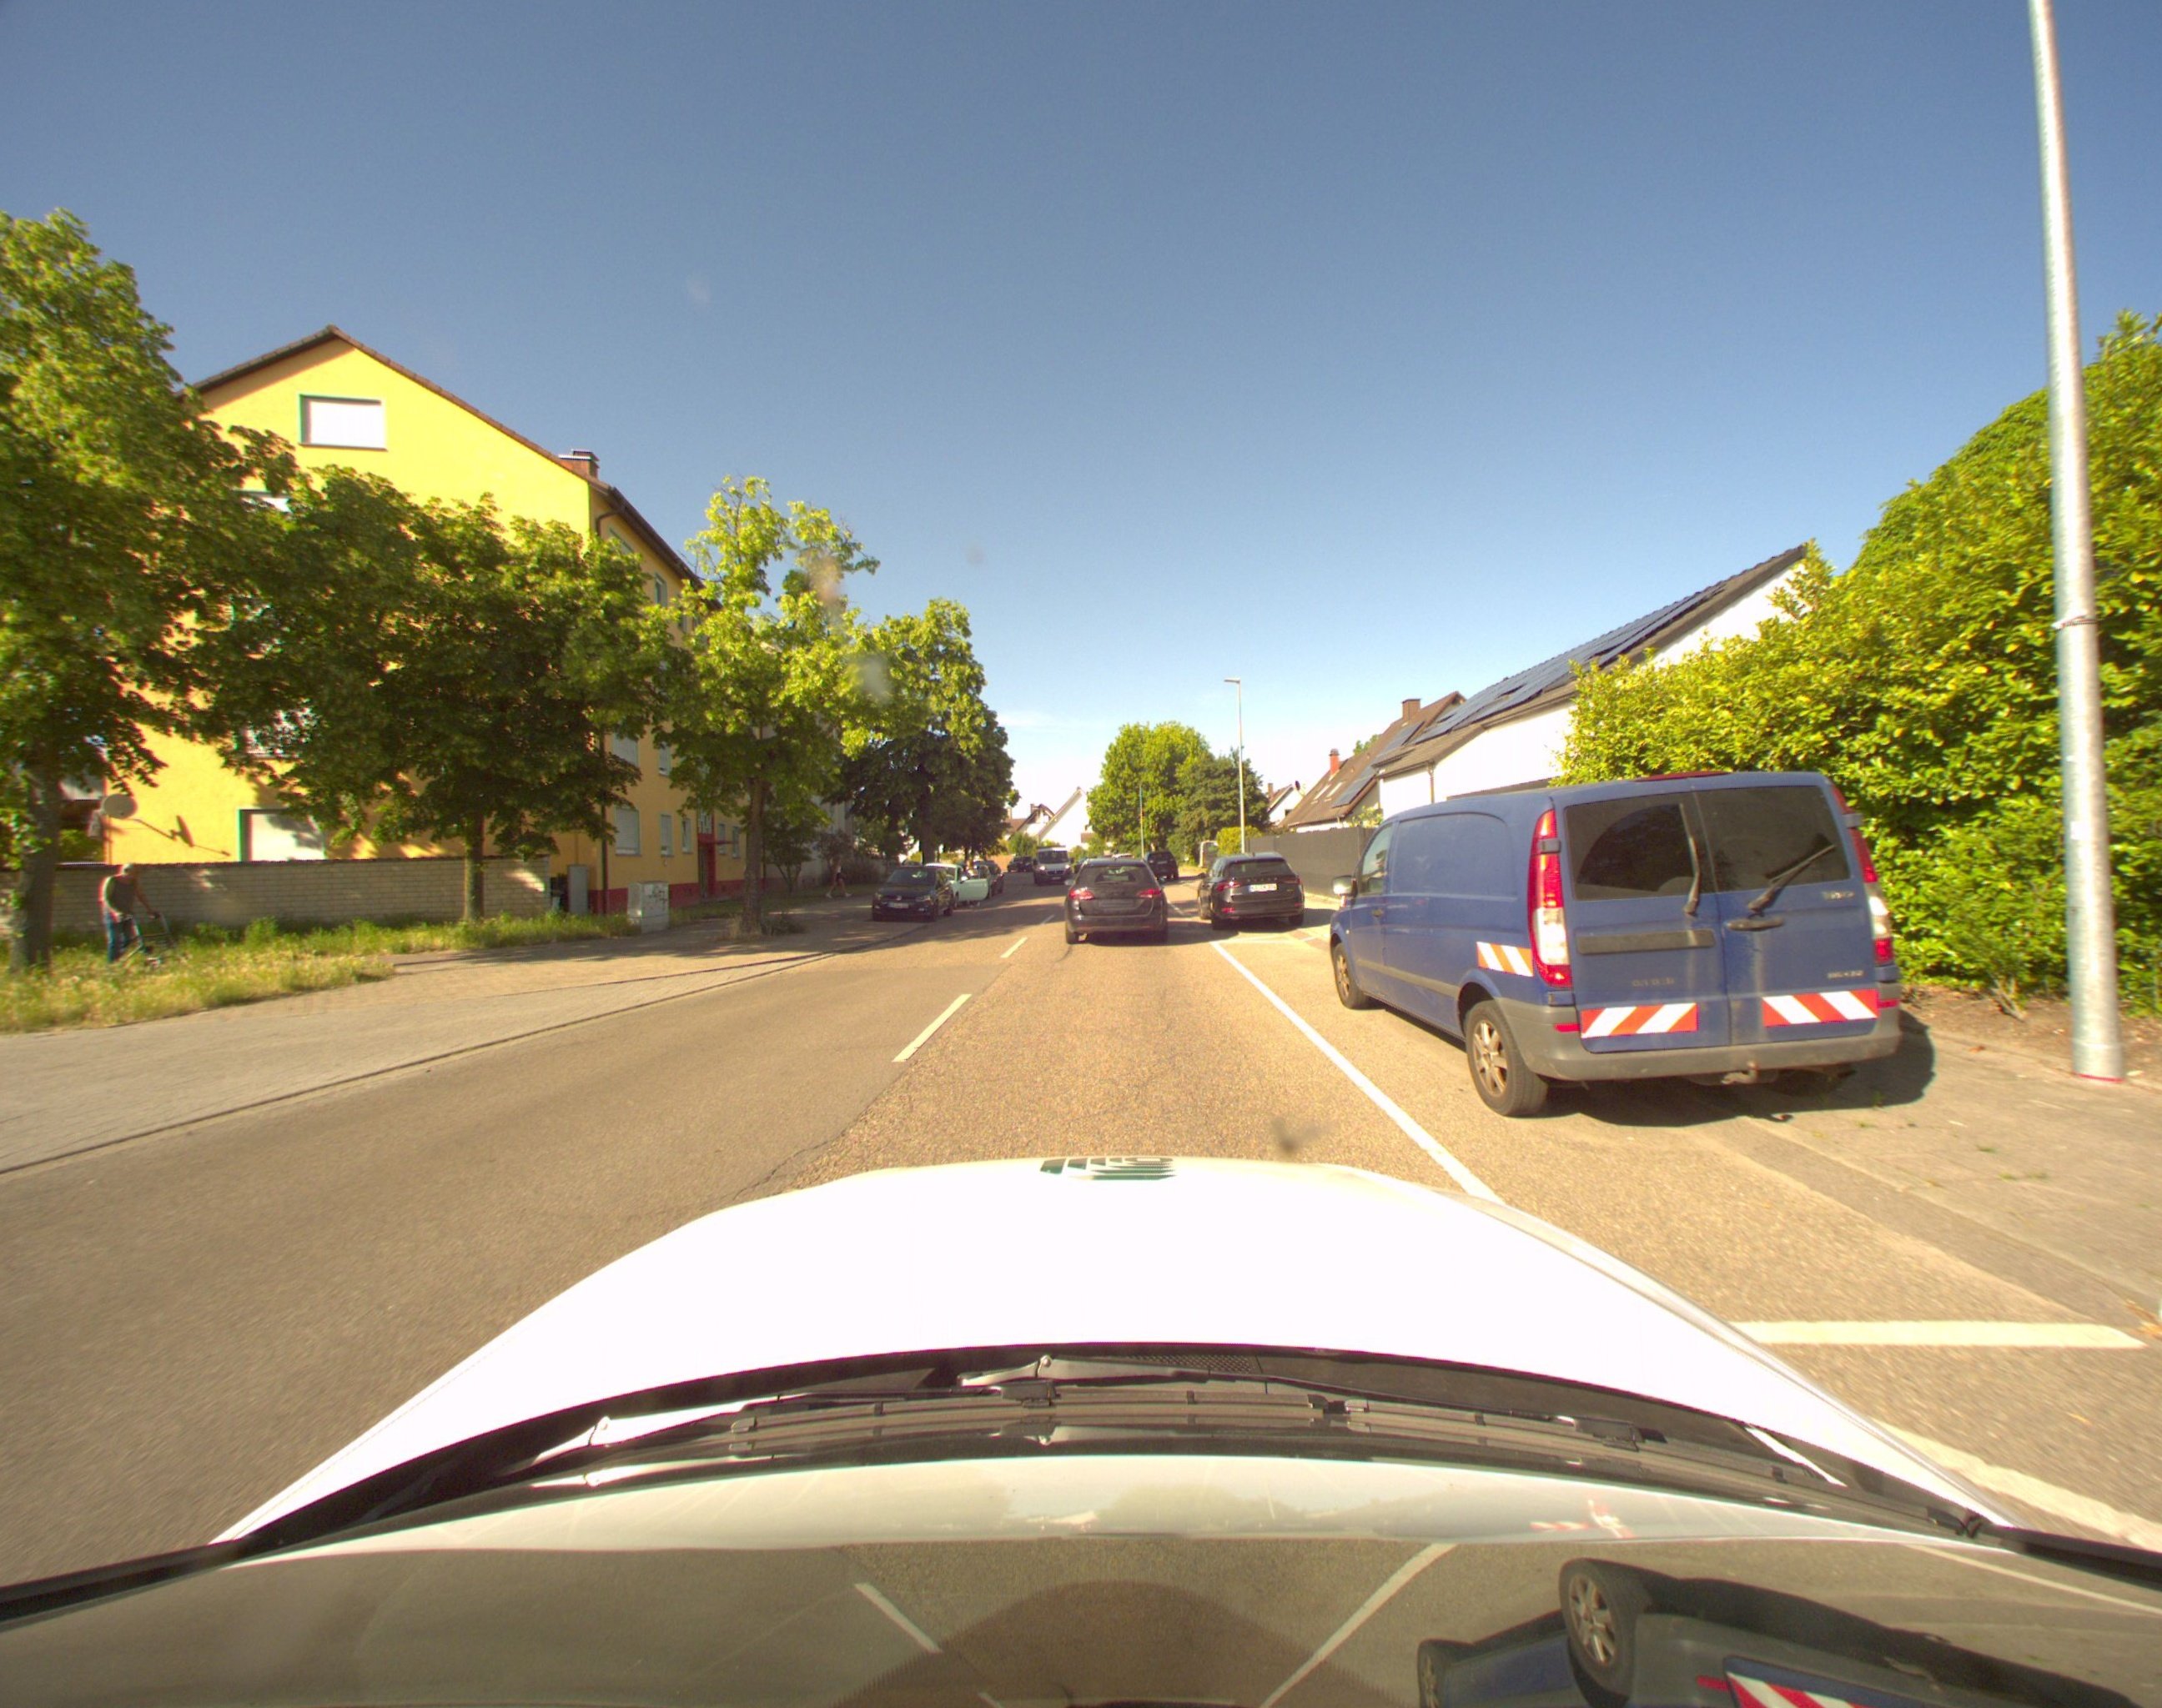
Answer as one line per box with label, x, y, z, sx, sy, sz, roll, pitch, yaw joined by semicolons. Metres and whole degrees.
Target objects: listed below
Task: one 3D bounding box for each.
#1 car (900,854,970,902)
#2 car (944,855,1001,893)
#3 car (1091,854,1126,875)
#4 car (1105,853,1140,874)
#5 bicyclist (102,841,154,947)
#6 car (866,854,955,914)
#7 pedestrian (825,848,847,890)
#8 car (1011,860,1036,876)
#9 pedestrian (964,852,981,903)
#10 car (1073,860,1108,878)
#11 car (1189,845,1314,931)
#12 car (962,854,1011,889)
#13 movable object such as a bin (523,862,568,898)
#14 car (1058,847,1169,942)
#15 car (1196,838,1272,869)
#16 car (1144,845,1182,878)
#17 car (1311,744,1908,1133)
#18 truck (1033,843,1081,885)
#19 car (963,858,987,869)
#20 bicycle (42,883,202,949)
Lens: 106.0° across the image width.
car;-5.045;0.852;28.570;1.695;1.523;4.051;-1;-2;0
car;-4.607;0.849;35.177;1.650;1.510;4.004;1;-1;4
car;2.121;0.869;64.616;1.912;1.600;4.277;0;-1;-11
car;3.029;0.693;59.999;1.759;1.480;4.282;0;-1;-8
bicyclist;-15.568;0.647;13.308;0.391;1.686;0.378;1;-3;-30
car;-4.716;0.853;23.091;1.695;1.480;4.049;2;-2;-1
pedestrian;-10.276;0.647;34.125;0.683;1.718;0.720;-1;-3;1
car;-6.330;1.546;89.501;1.907;1.666;4.167;0;-1;-16
pedestrian;-3.811;0.840;28.648;0.503;1.761;0.694;0;-3;-2
car;0.803;1.277;69.920;2.008;1.475;4.273;0;-1;-14
car;3.346;0.609;16.898;1.758;1.480;4.995;-1;0;3
car;-4.526;0.821;39.463;1.561;1.530;3.921;4;0;3
movable object such as a bin;-13.884;0.658;21.124;0.696;0.911;0.744;0;0;-6
car;0.609;0.692;15.195;1.755;1.491;4.292;1;-1;2
car;10.021;-0.024;53.605;4.663;1.984;2.144;-1;-1;2
car;4.389;0.428;44.076;1.771;1.724;4.296;-1;-1;2
car;3.274;0.434;6.390;1.829;1.908;4.701;1;-1;3
truck;-1.348;0.600;49.621;2.119;2.334;6.451;-1;-1;5
car;-14.024;1.287;107.916;1.925;1.407;4.258;0;-1;-25
bicycle;-15.585;0.988;13.278;1.627;1.011;0.402;1;-1;-30
